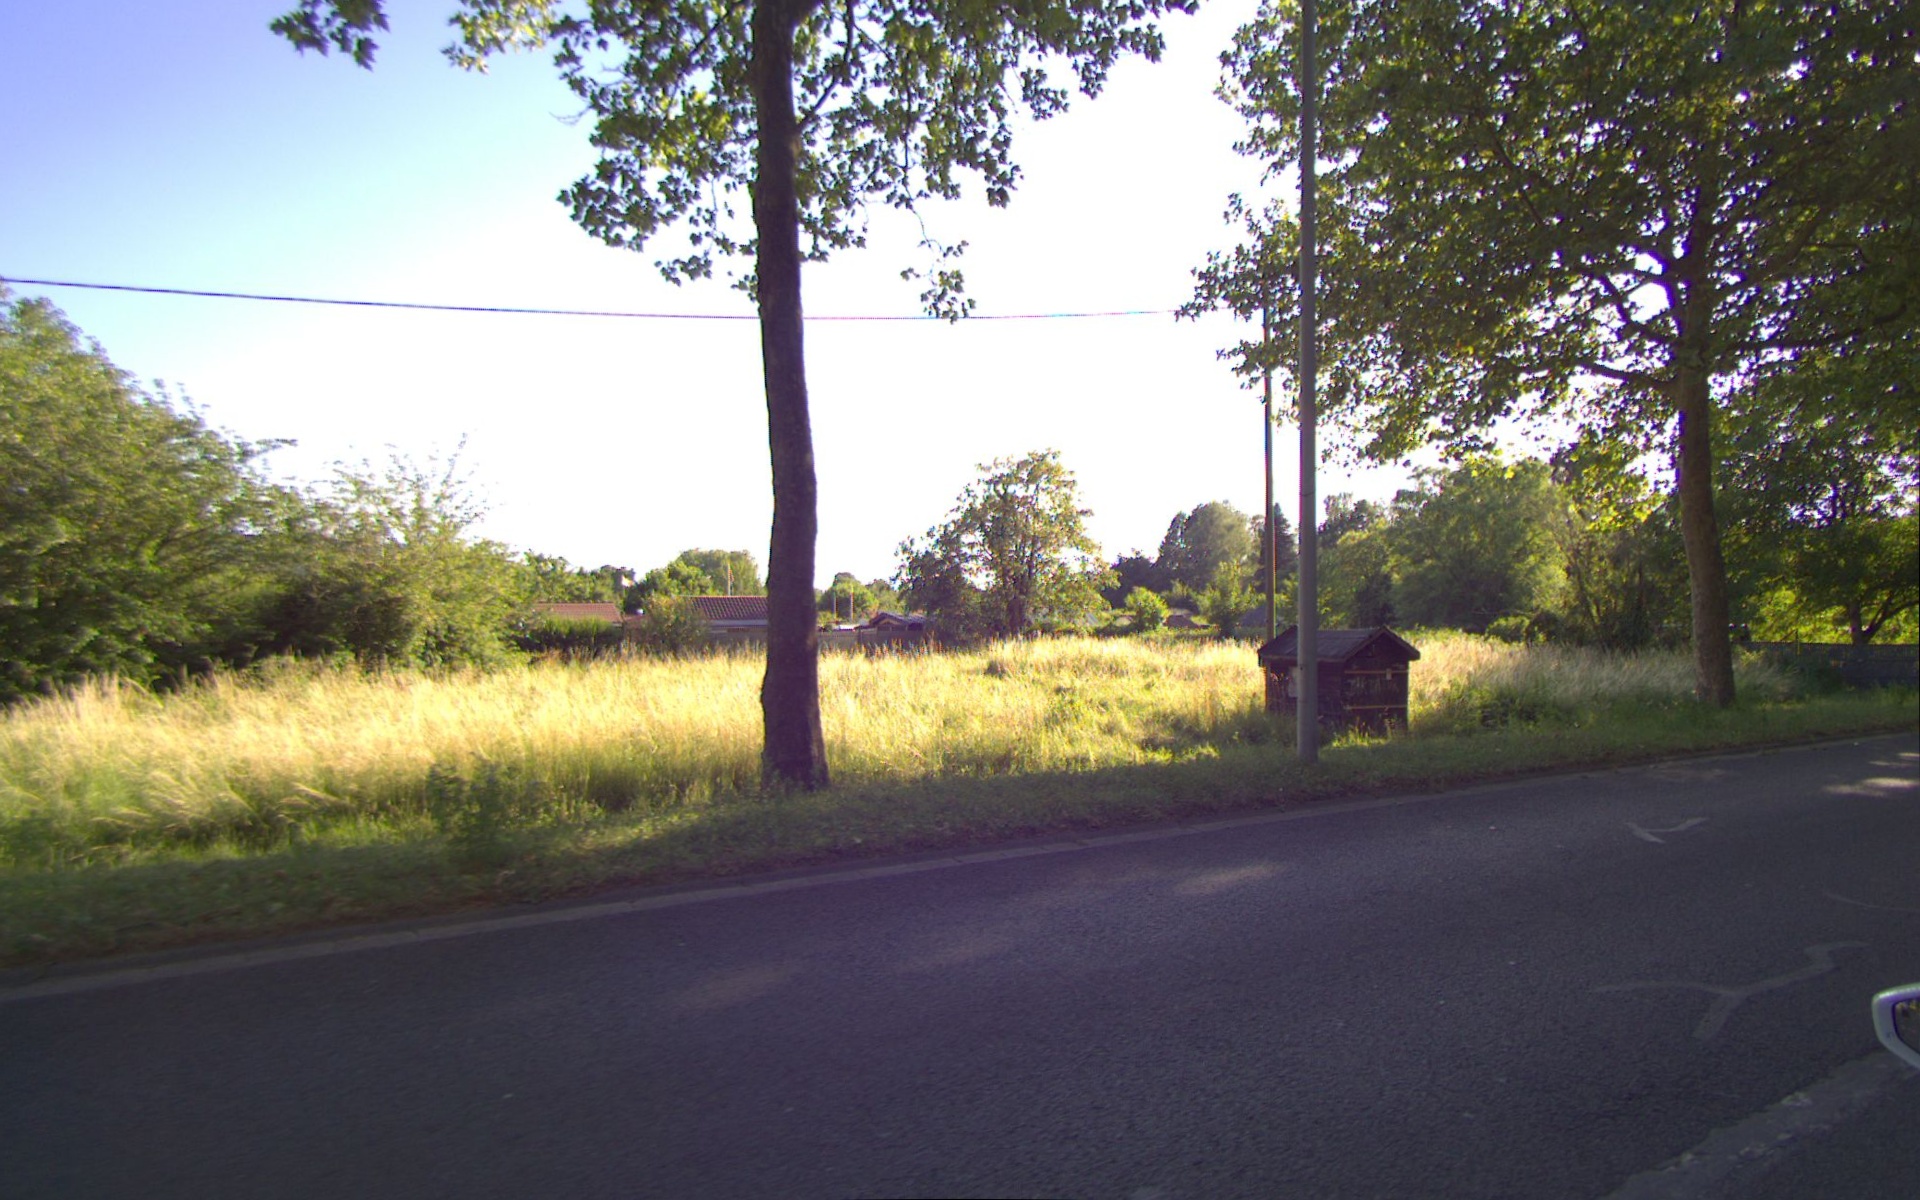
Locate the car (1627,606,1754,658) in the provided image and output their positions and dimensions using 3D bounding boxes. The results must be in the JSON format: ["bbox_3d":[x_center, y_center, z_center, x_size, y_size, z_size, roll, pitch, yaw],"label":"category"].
[{"bbox_3d":[31.303,1.321,43.168,1.969,2.040,3.983,1,0,-18],"label":"car"}]
